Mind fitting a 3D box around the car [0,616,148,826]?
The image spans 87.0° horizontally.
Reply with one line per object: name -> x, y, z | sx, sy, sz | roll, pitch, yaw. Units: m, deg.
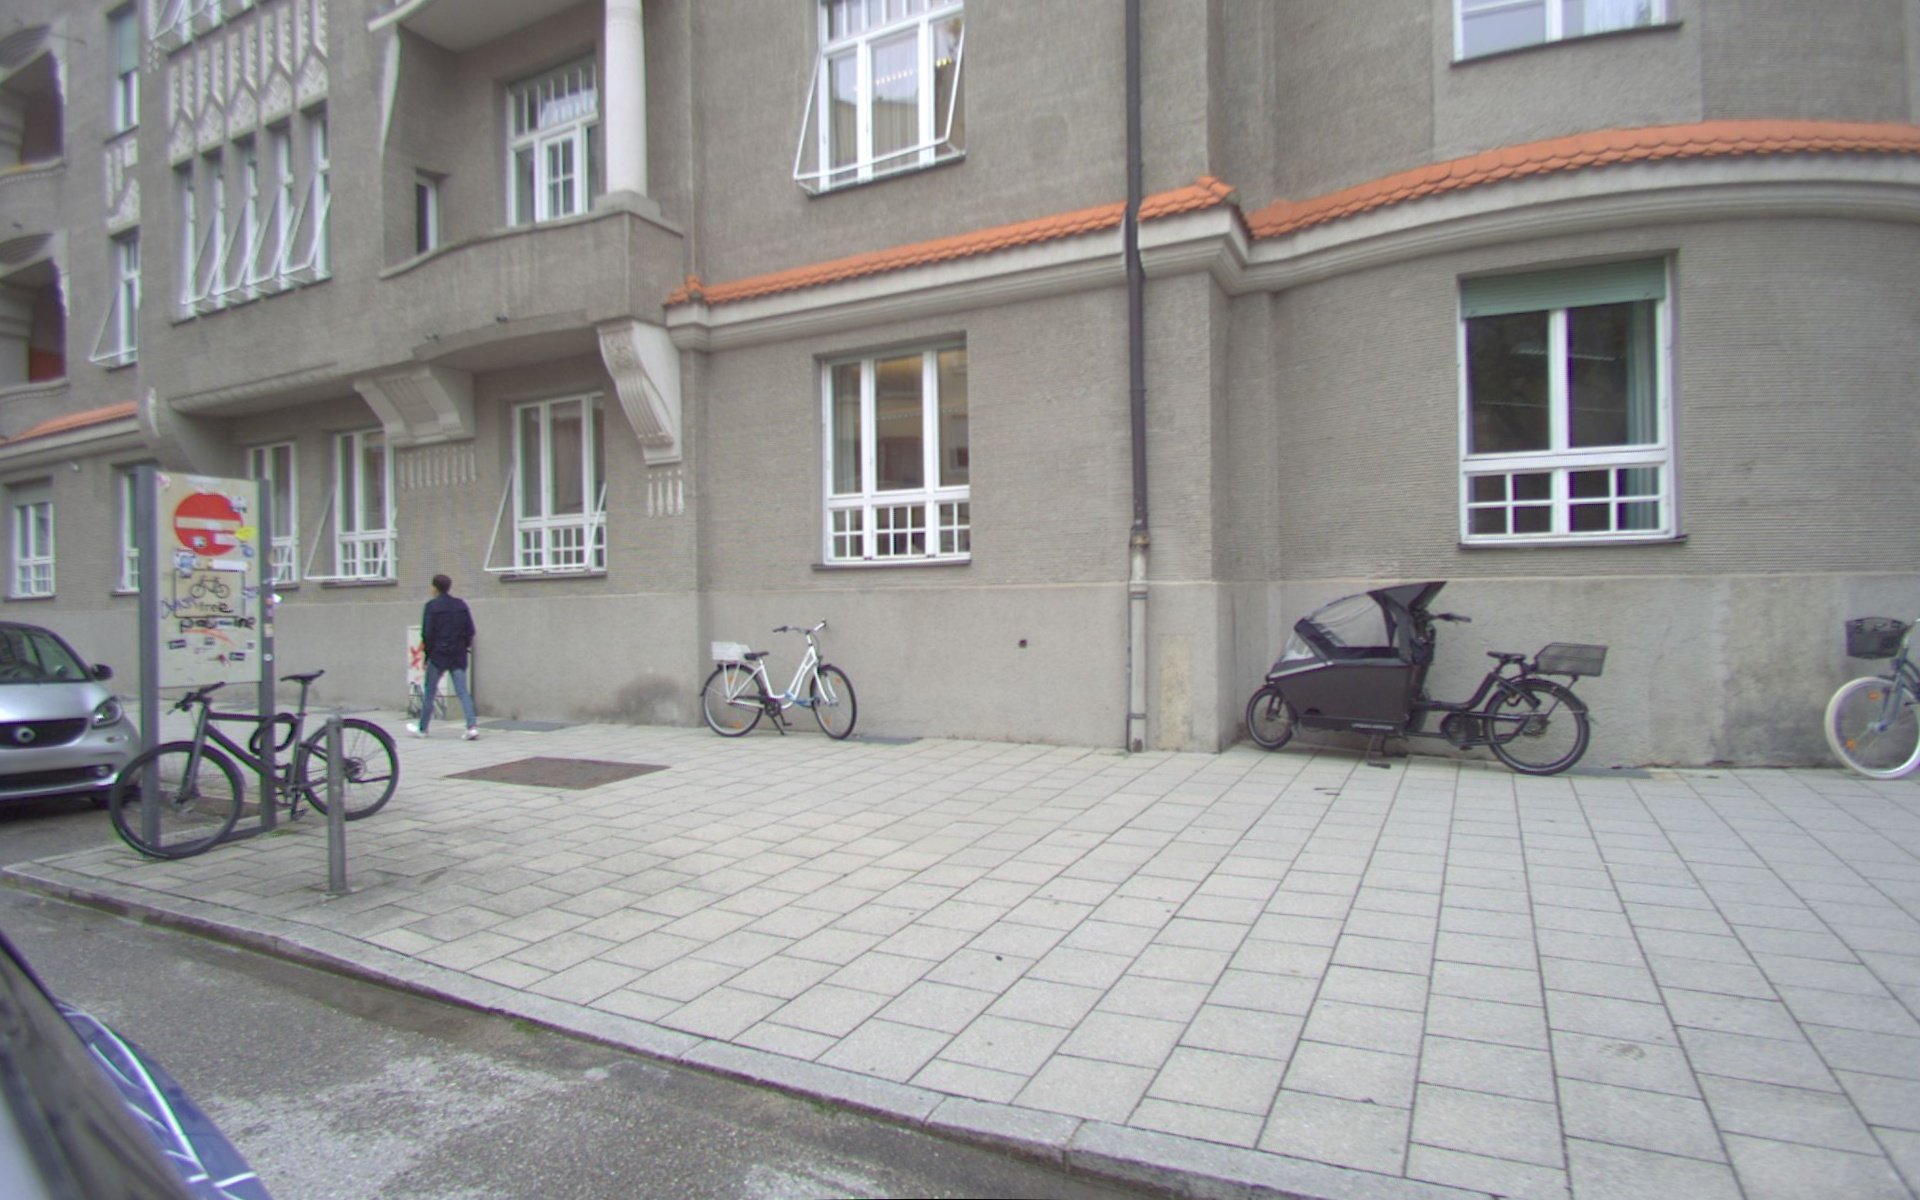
car -> -8.235, 0.909, 8.135 | 2.898, 1.527, 1.692 | -1, -2, 29

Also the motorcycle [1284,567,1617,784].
motorcycle -> 3.608, 0.521, 7.610 | 2.136, 1.451, 0.731 | -1, 0, 27

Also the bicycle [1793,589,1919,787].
bicycle -> 6.947, 0.551, 6.919 | 1.898, 1.265, 0.739 | -1, 0, -2

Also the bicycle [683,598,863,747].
bicycle -> -1.835, 0.674, 9.892 | 1.665, 1.359, 0.615 | -1, 0, 24

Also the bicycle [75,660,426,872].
bicycle -> -4.430, 0.969, 6.489 | 0.537, 1.022, 1.792 | -1, 1, 26

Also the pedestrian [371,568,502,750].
pedestrian -> -5.469, 0.588, 10.590 | 0.932, 1.800, 0.833 | -1, 0, 31
